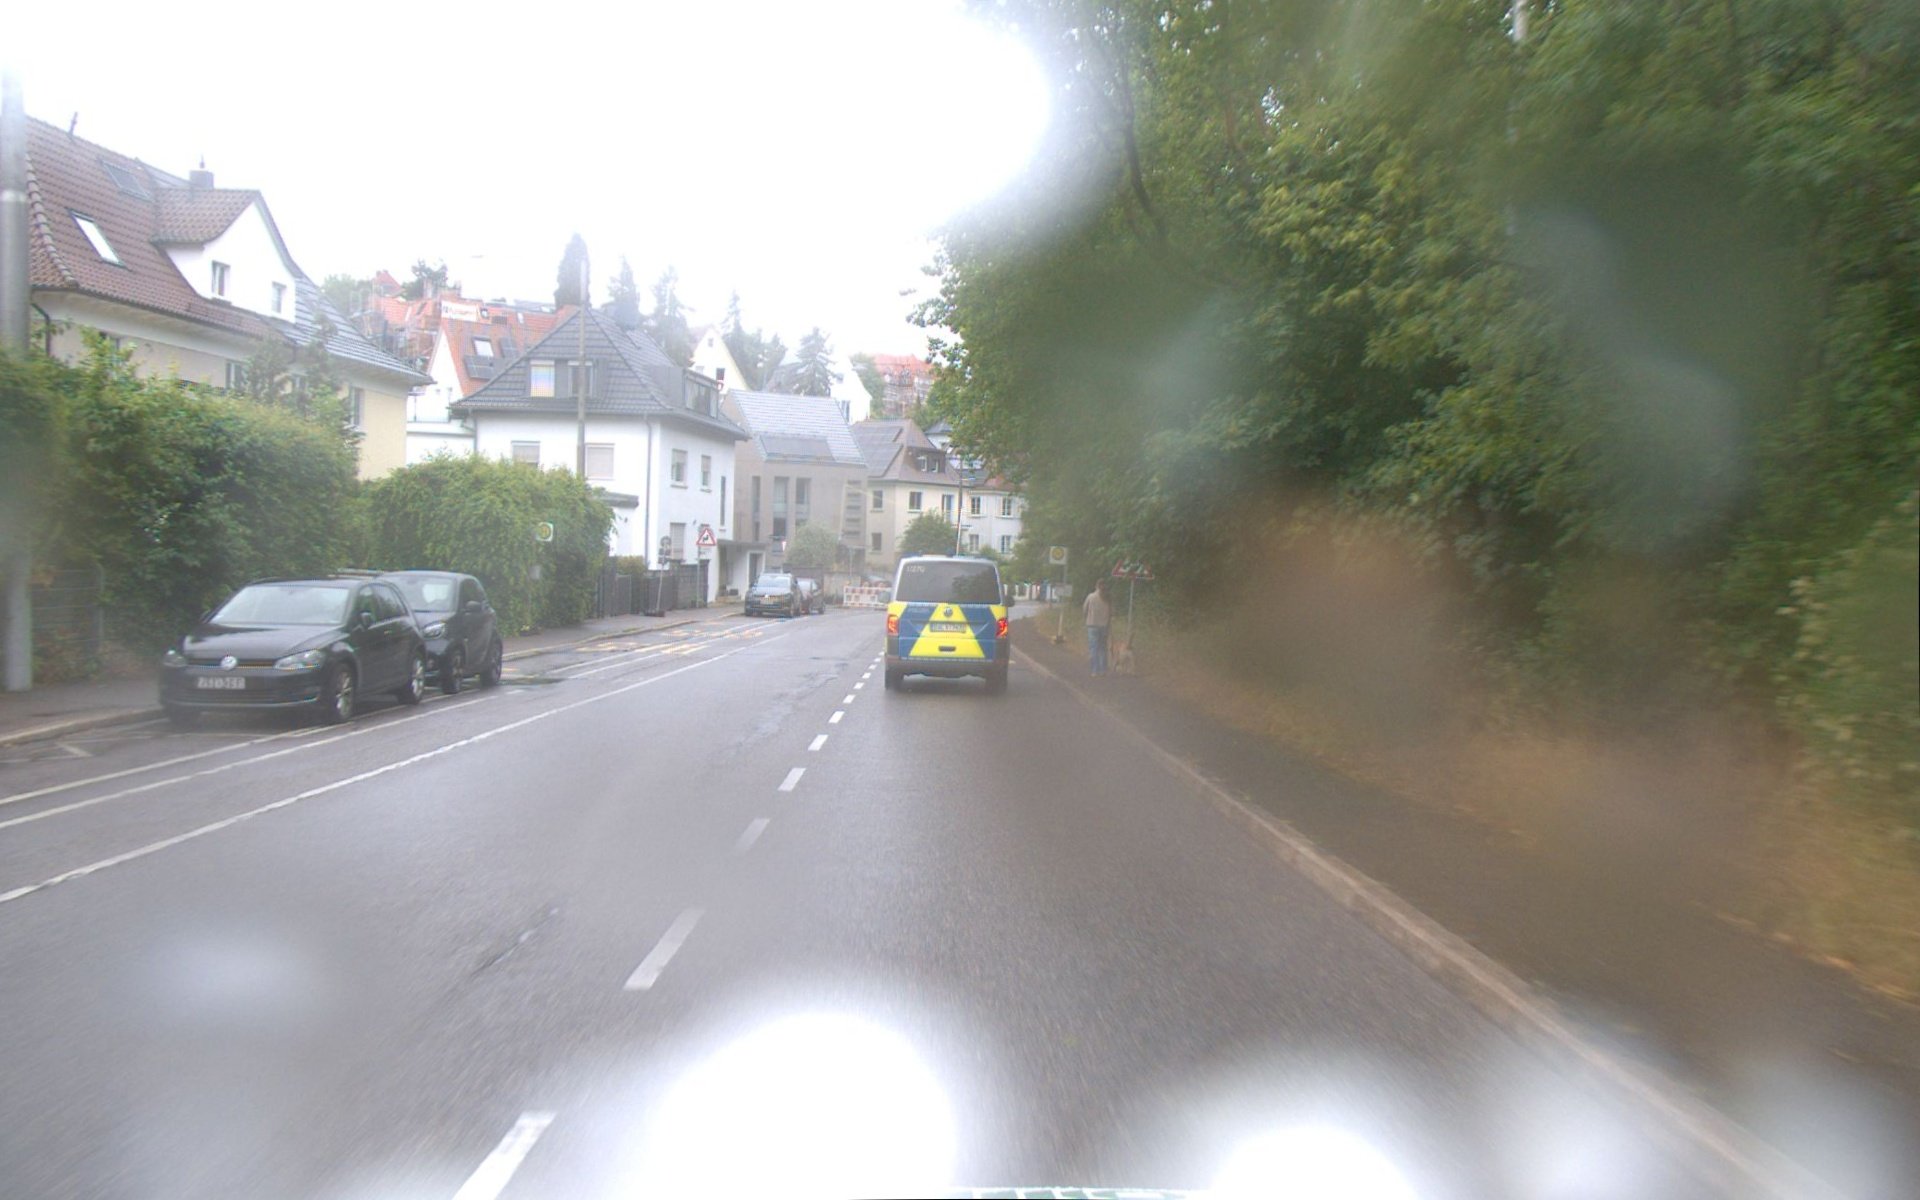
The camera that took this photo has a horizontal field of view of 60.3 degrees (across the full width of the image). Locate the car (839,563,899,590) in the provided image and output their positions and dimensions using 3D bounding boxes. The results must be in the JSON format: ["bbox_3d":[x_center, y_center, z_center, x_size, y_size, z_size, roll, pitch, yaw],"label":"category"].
[{"bbox_3d":[-5.802,-1.521,105.385,1.821,1.468,3.946,2,2,-38],"label":"car"}]

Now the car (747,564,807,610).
[{"bbox_3d":[-7.038,-0.546,63.908,1.718,1.687,4.406,1,1,1],"label":"car"}]

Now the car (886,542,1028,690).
[{"bbox_3d":[-0.133,0.248,25.585,1.954,2.049,4.399,1,-1,-3],"label":"car"}]

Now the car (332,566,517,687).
[{"bbox_3d":[-7.087,0.301,22.148,1.488,1.479,3.030,1,1,0],"label":"car"}]

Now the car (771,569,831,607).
[{"bbox_3d":[-6.644,-0.528,69.477,1.582,1.465,4.234,3,2,7],"label":"car"}]

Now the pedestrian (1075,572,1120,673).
[{"bbox_3d":[2.305,0.374,27.786,0.629,1.639,0.669,2,-1,-2],"label":"pedestrian"}]

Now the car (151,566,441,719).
[{"bbox_3d":[-7.023,0.365,17.967,1.654,1.443,4.213,0,1,-3],"label":"car"}]
